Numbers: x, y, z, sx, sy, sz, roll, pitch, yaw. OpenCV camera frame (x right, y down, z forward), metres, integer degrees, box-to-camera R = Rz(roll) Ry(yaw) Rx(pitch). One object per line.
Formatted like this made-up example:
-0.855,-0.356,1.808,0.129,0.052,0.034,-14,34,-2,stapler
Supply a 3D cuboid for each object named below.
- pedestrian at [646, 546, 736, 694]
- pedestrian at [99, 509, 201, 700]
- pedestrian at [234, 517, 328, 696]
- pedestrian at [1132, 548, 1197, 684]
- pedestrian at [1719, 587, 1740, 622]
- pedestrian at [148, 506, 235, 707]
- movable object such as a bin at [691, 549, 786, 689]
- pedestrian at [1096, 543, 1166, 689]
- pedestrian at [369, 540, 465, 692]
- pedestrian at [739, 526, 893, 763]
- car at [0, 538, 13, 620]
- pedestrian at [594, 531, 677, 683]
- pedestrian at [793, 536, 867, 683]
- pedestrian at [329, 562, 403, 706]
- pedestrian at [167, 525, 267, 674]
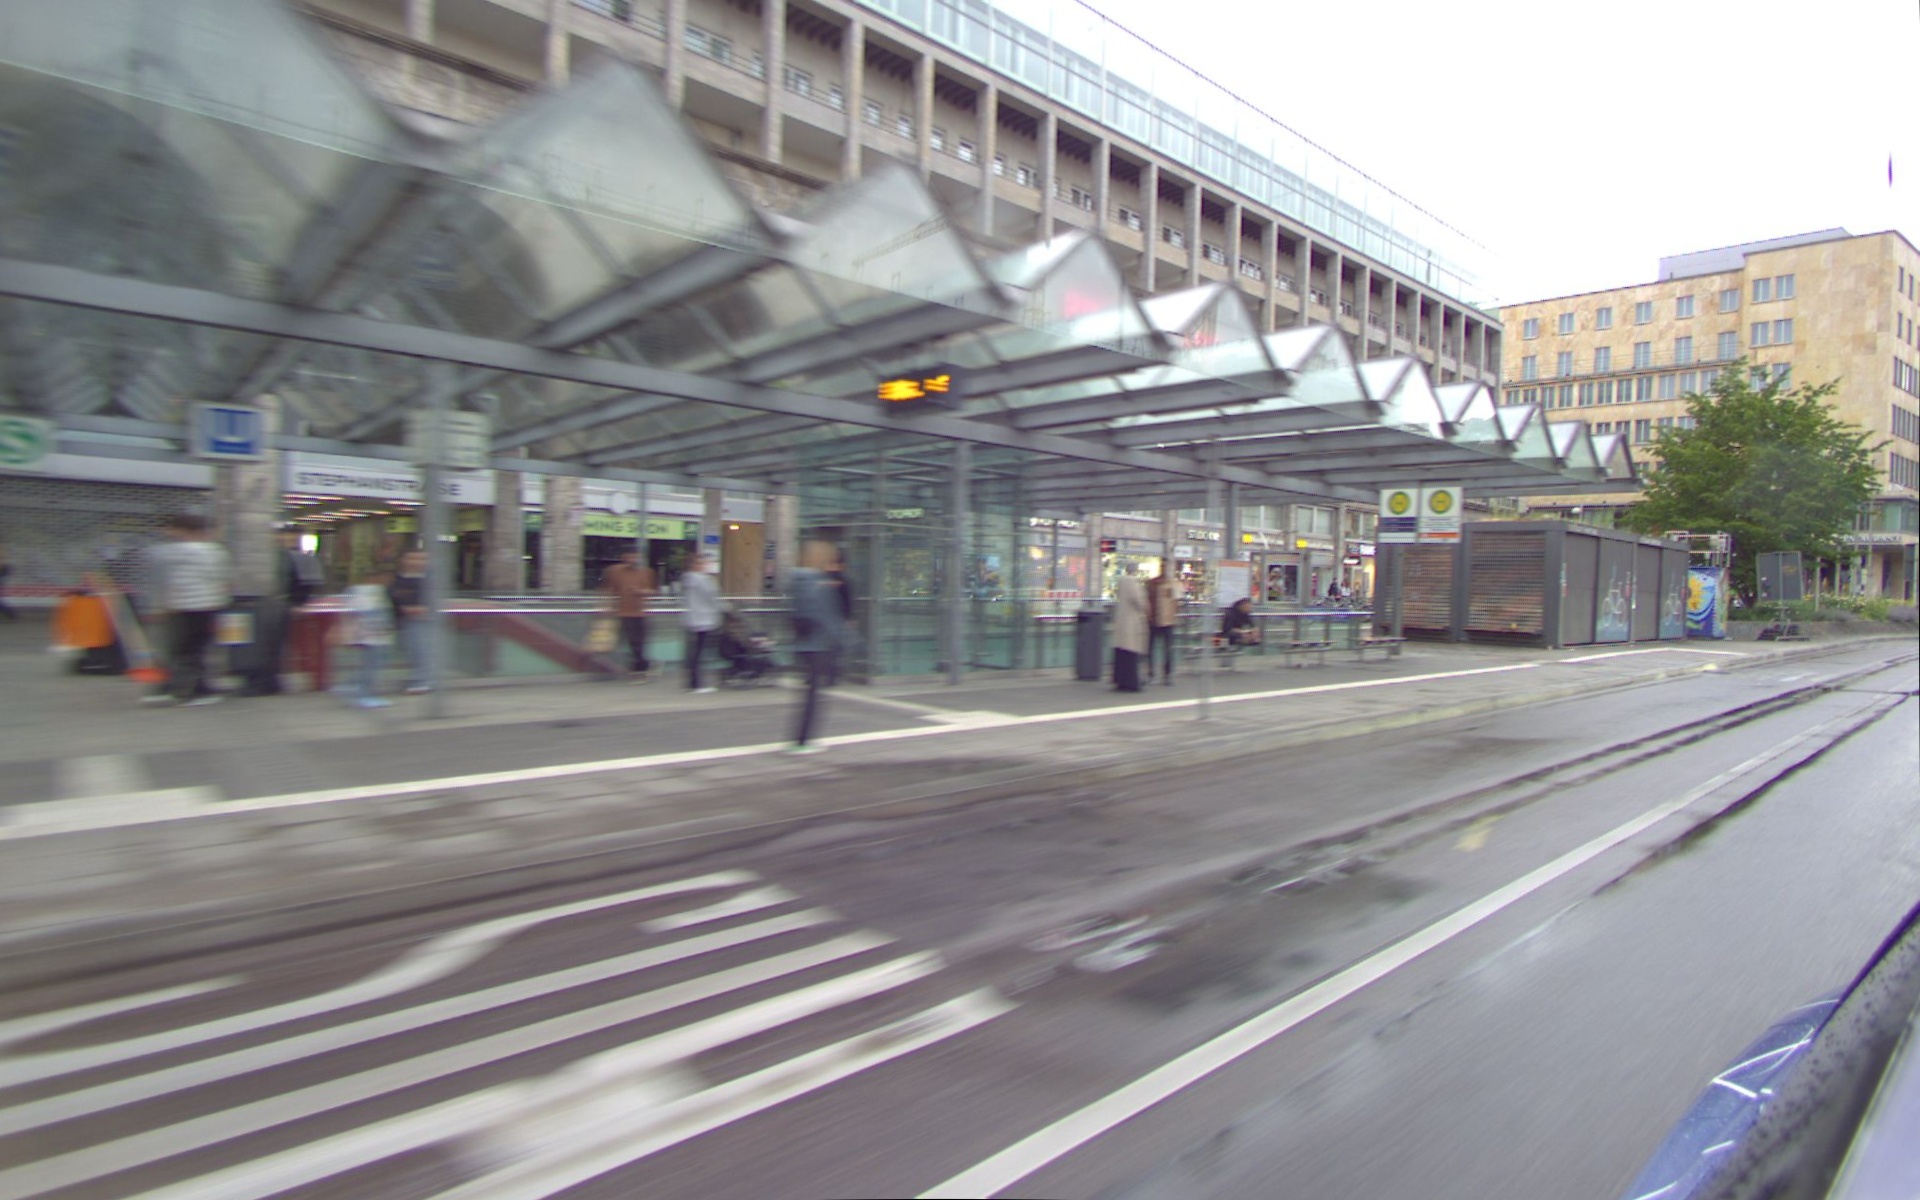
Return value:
-3.160,0.215,11.909,0.754,1.675,0.674,1,0,25,pedestrian
-8.313,0.044,10.406,0.579,1.897,0.599,1,0,-9,pedestrian
-7.268,0.060,10.844,0.599,1.854,0.589,1,0,19,pedestrian
2.886,0.207,14.299,0.630,1.859,0.629,1,1,-39,pedestrian
39.860,0.232,52.415,0.823,1.773,0.698,0,1,-43,pedestrian
-7.504,0.053,9.901,0.613,1.883,0.609,1,0,-33,pedestrian
-2.761,0.216,12.668,0.658,1.673,1.039,1,1,25,movable object such as a bin
2.244,0.192,13.295,0.564,1.859,0.677,1,1,-40,pedestrian
-6.114,0.163,11.402,0.750,1.628,0.750,1,1,44,pedestrian
-1.108,0.311,7.941,0.754,1.711,0.989,1,1,27,pedestrian
-18.571,-0.403,19.409,0.557,1.558,0.590,0,0,-39,car
-4.175,0.074,13.018,0.749,1.871,0.751,0,1,-45,pedestrian
-1.712,0.109,13.301,0.746,1.859,0.754,1,0,-26,pedestrian
-5.957,0.320,10.141,0.551,1.395,0.500,1,1,44,pedestrian
-9.601,-0.016,13.093,0.752,1.854,0.748,1,0,19,pedestrian
